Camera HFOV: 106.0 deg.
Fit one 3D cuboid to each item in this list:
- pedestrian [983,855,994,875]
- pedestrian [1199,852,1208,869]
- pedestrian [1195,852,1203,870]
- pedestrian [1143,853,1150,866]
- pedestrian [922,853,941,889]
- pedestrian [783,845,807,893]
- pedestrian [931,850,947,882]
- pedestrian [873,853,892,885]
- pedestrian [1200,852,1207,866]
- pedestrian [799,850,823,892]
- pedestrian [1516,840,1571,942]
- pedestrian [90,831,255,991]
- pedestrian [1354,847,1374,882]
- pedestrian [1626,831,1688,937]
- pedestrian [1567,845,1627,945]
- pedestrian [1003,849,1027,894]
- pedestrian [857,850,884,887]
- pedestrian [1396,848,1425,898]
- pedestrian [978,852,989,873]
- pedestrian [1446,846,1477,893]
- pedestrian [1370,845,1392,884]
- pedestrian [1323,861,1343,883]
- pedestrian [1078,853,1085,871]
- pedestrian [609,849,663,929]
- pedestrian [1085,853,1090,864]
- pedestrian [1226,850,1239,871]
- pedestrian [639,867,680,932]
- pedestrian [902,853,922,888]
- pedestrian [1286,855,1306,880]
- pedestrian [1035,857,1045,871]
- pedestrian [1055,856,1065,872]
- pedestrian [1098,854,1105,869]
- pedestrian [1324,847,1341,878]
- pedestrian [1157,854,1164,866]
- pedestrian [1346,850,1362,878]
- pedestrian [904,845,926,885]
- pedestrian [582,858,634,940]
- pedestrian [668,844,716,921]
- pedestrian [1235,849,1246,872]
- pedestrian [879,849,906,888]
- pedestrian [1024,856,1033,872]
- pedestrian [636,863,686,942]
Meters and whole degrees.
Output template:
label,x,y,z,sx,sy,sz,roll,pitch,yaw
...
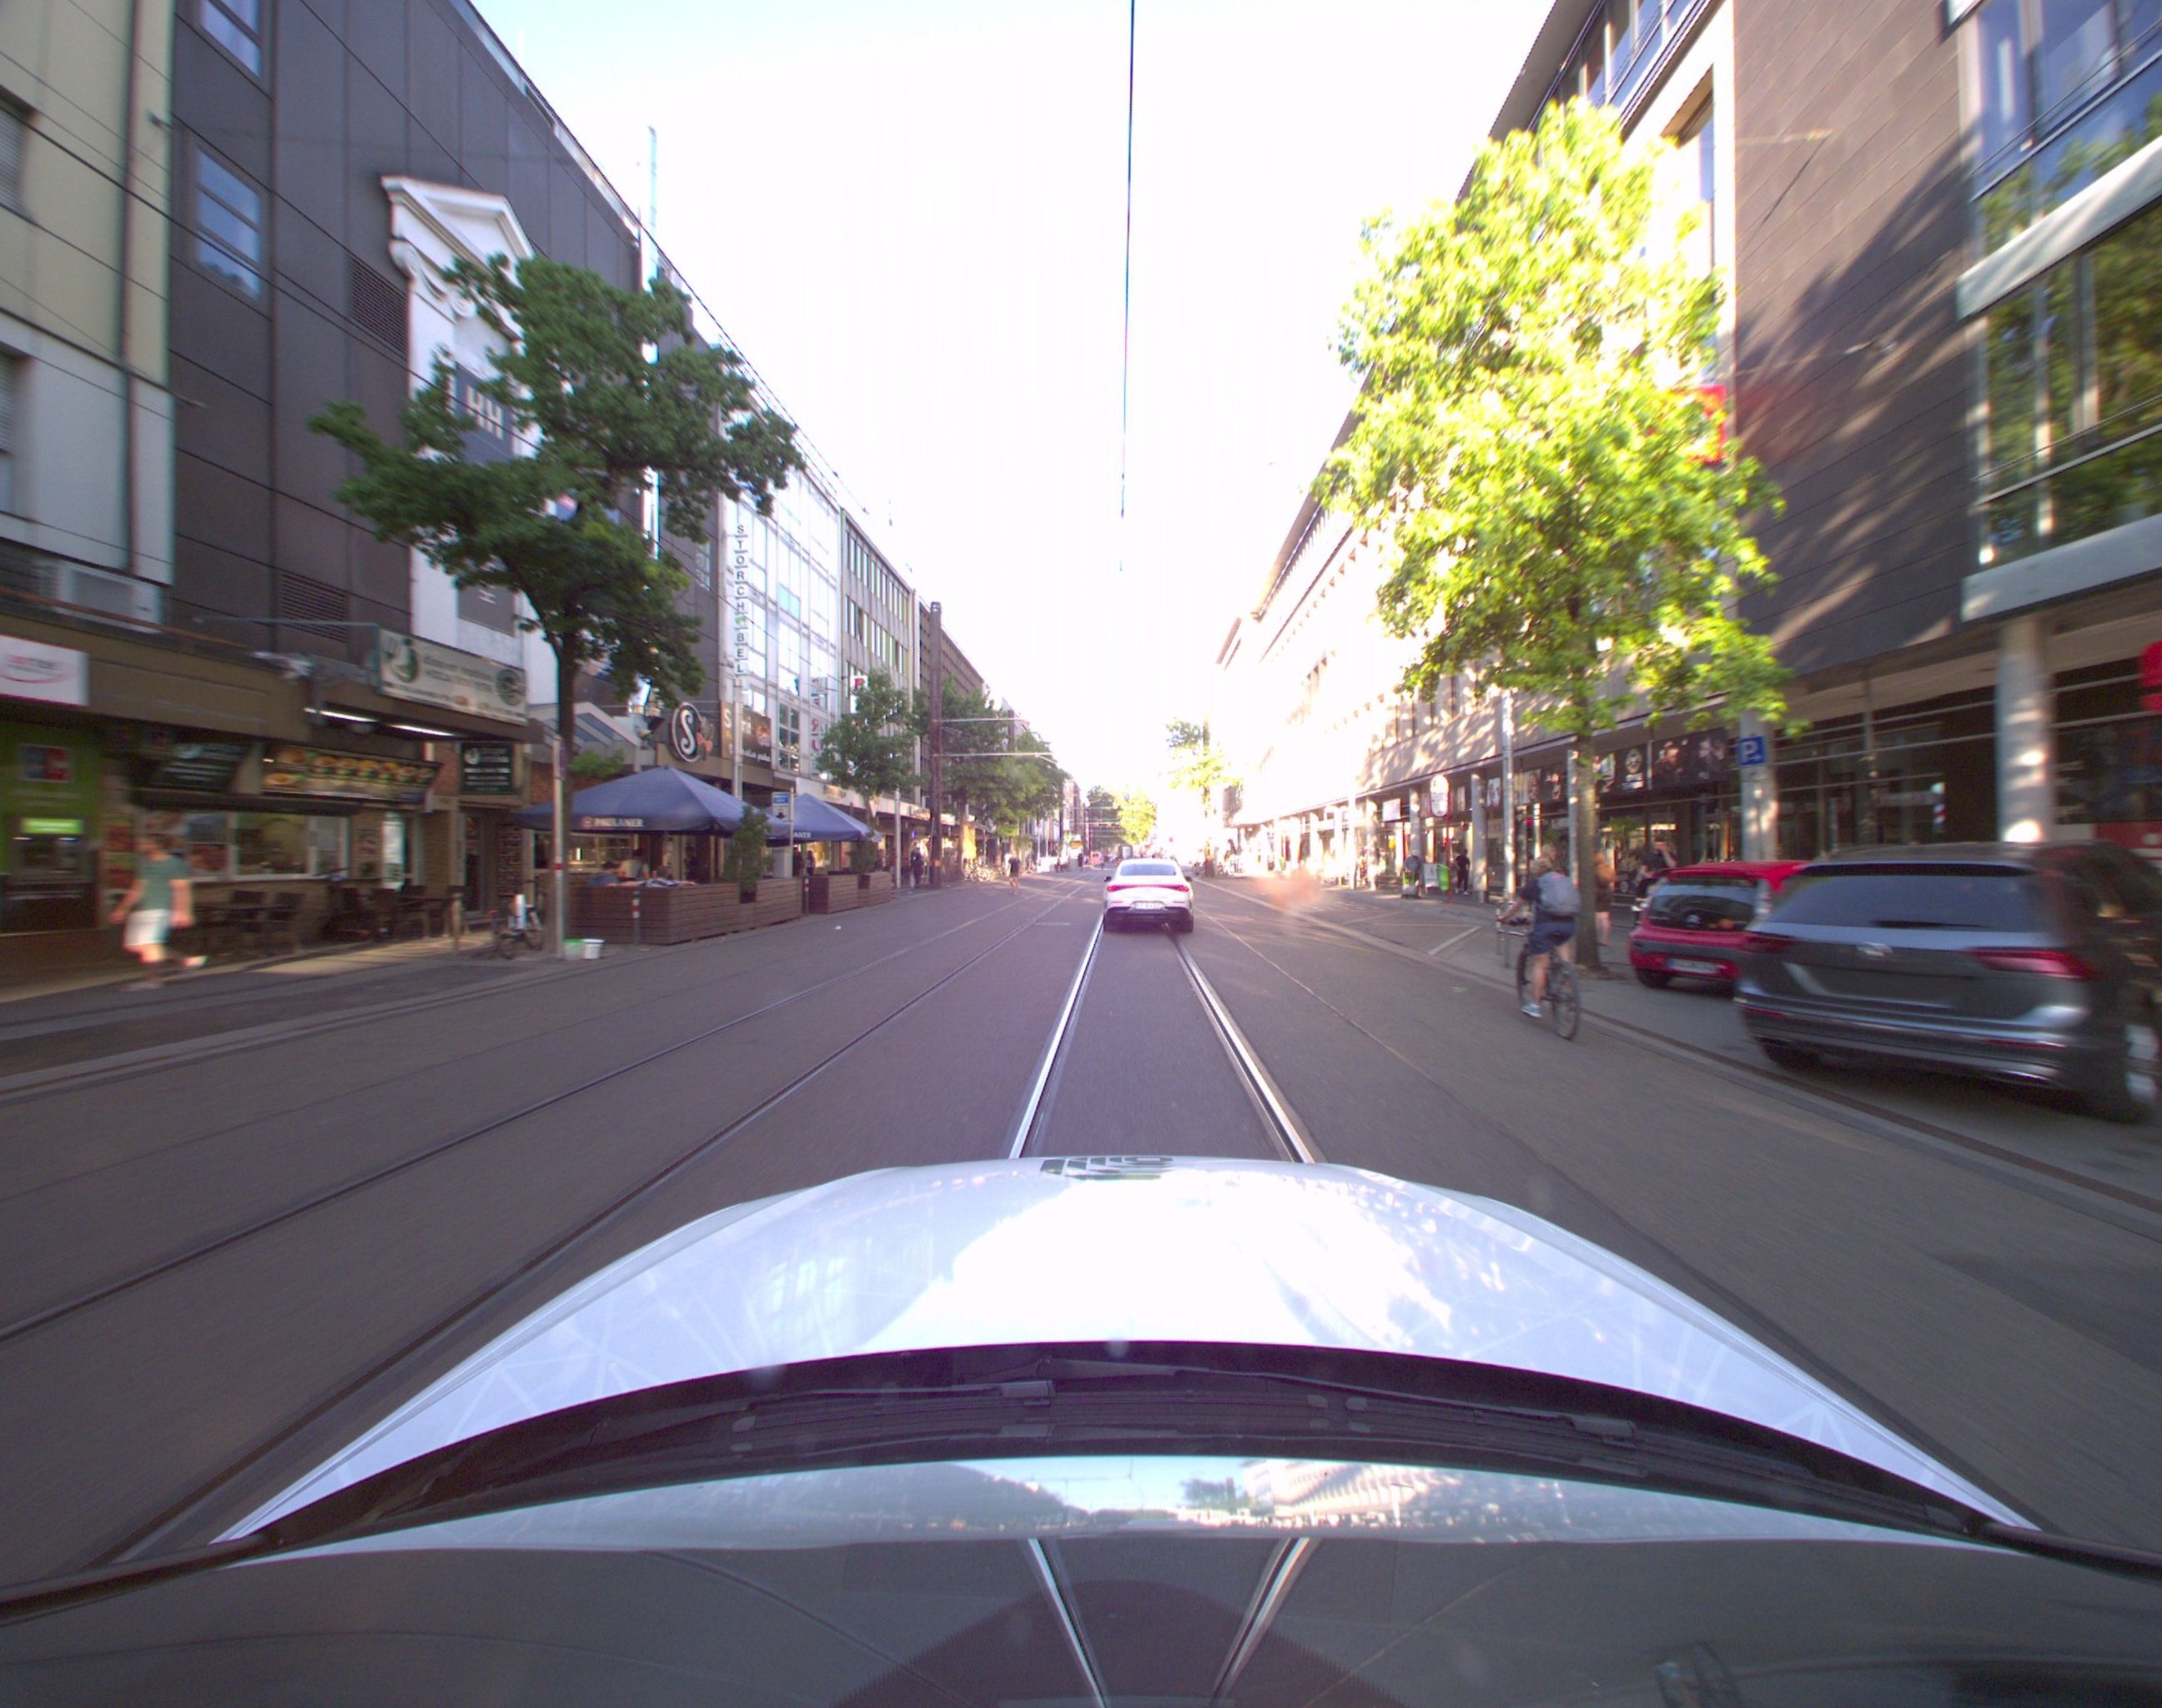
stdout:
label,x,y,z,sx,sy,sz,roll,pitch,yaw
pedestrian,-8.511,1.007,74.888,0.728,1.762,0.810,0,-1,-32
pedestrian,13.680,0.730,91.275,0.837,1.785,0.804,-2,-1,2
pedestrian,12.103,0.712,83.638,0.745,1.785,0.767,-2,-1,2
pedestrian,9.317,0.764,115.423,0.956,1.785,0.804,-2,-1,2
pedestrian,-6.649,0.744,36.220,0.619,1.550,0.853,2,0,3
pedestrian,-10.640,0.546,30.340,0.594,1.745,0.672,1,0,3
pedestrian,-7.994,0.651,45.755,0.619,1.747,0.934,2,0,3
pedestrian,-9.718,0.713,39.834,0.619,1.526,0.810,2,0,3
pedestrian,15.432,0.588,102.514,0.814,1.685,0.804,-2,-1,2
pedestrian,-10.044,0.643,30.318,0.594,1.533,0.672,1,0,3
pedestrian,7.962,0.618,14.020,0.672,1.685,0.700,-3,-1,36
pedestrian,-10.222,0.611,9.212,0.664,1.686,1.006,1,0,2
pedestrian,13.929,0.509,40.082,0.741,1.700,0.858,0,0,3
pedestrian,9.765,0.498,13.807,0.681,1.731,0.636,-3,-1,45
pedestrian,8.430,0.655,13.305,0.693,1.552,0.600,-2,-1,-44
pedestrian,-2.692,0.703,33.231,0.837,1.801,0.791,1,0,4
pedestrian,-9.412,0.655,36.508,0.841,1.638,0.766,1,0,23
pedestrian,10.557,0.599,26.108,0.678,1.572,0.632,1,0,3
pedestrian,-8.291,0.744,69.261,0.789,1.767,0.533,-1,-1,-22
pedestrian,13.256,0.540,28.373,0.693,1.589,0.926,0,0,3
pedestrian,13.991,0.482,38.039,0.741,1.793,0.858,0,0,3
pedestrian,12.482,0.887,40.354,0.831,1.031,0.697,0,0,8
pedestrian,0.056,0.823,88.438,0.576,1.929,0.534,0,-1,-43
pedestrian,-9.157,0.700,16.786,0.670,1.607,0.720,1,0,2
pedestrian,1.033,0.723,126.557,0.657,1.599,0.573,-1,0,2
pedestrian,12.653,0.546,67.934,0.896,1.744,0.690,-4,-1,2
pedestrian,-8.216,0.879,15.893,0.493,1.228,0.536,1,0,2
pedestrian,-7.566,0.737,36.513,0.619,1.509,0.834,2,0,3
pedestrian,11.945,0.744,45.264,0.836,1.377,0.773,0,0,-20
pedestrian,-4.263,1.027,84.151,0.951,1.496,0.945,-1,0,3
pedestrian,-2.175,1.011,83.145,0.901,1.698,0.849,-1,0,3
pedestrian,2.398,0.907,96.494,0.797,1.782,0.849,1,0,2
pedestrian,14.419,0.496,46.736,0.712,1.741,0.836,0,0,3
pedestrian,11.850,0.942,121.954,0.956,1.785,0.804,-2,-1,2
pedestrian,15.098,0.536,45.089,0.640,1.542,0.797,0,0,3
pedestrian,-8.064,0.532,39.661,0.798,1.923,1.071,2,0,0
pedestrian,-8.460,0.791,14.588,0.547,1.429,0.583,1,0,2
pedestrian,-8.848,0.636,18.544,0.715,1.724,0.676,1,0,2
pedestrian,13.281,0.556,67.796,0.698,1.812,1.034,-4,-1,2
pedestrian,-8.561,0.646,37.007,0.842,1.741,0.839,1,0,23
pedestrian,-5.641,1.050,87.144,0.834,1.717,0.785,-1,0,1
pedestrian,-7.468,0.848,14.496,0.547,1.356,0.583,1,0,2
